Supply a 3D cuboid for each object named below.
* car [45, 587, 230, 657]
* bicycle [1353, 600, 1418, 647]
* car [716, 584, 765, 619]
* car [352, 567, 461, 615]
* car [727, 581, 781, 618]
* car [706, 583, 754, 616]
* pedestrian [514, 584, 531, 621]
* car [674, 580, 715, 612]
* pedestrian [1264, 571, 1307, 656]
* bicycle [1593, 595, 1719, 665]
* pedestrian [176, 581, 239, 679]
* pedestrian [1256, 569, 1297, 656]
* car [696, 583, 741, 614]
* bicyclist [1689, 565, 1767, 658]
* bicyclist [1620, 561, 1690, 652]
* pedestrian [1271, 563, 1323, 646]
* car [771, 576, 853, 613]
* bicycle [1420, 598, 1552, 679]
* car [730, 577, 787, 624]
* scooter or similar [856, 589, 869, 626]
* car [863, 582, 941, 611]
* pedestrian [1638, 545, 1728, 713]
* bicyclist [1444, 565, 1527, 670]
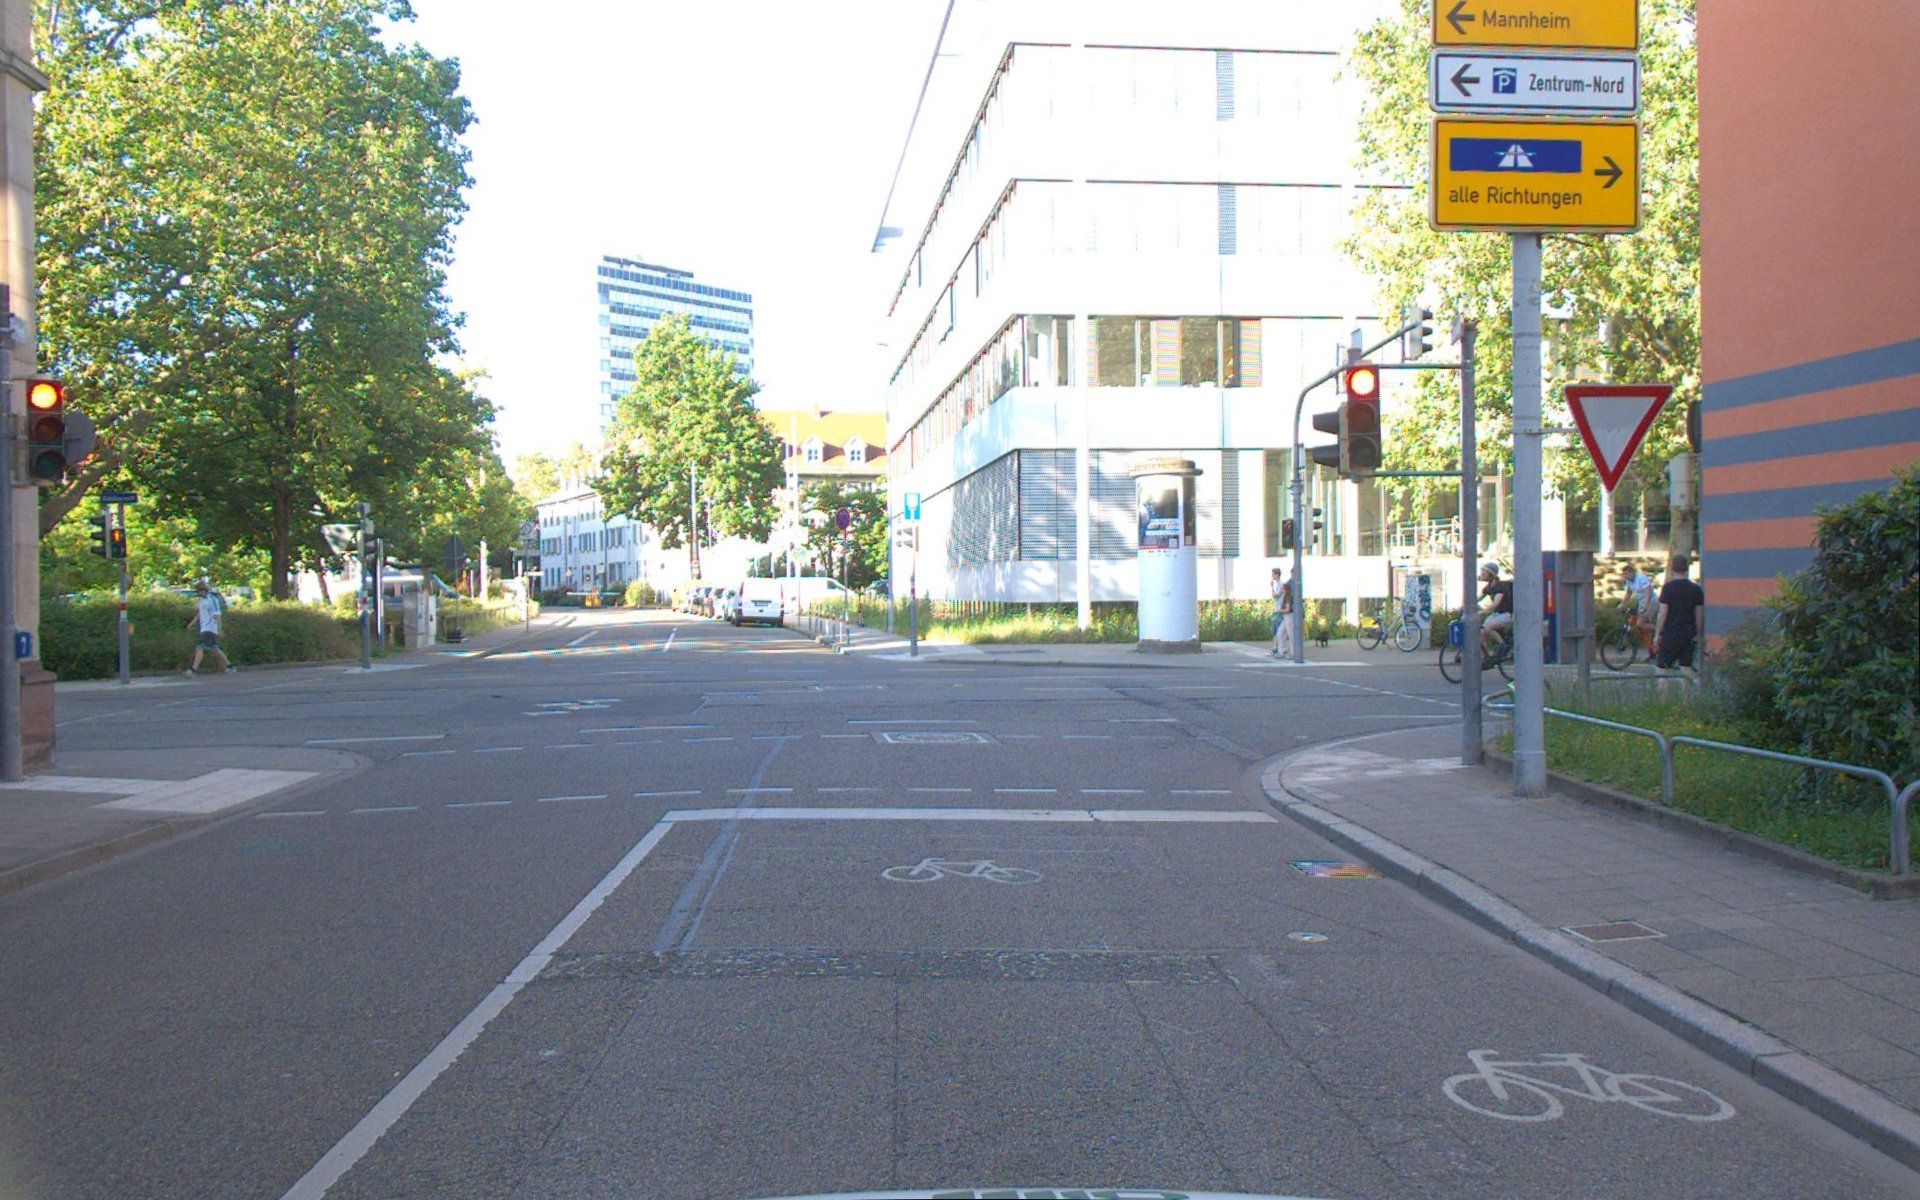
[{"bbox_3d":[-18.368,0.483,37.070,3.347,1.483,1.646,1,0,-11],"label":"car"},{"bbox_3d":[9.321,0.507,36.289,0.376,1.026,1.410,-1,0,-42],"label":"bicycle"},{"bbox_3d":[-10.197,0.059,76.658,1.958,1.525,4.639,1,0,-11],"label":"car"},{"bbox_3d":[-24.965,-0.389,74.687,4.363,2.049,1.995,1,0,-10],"label":"car"},{"bbox_3d":[-8.872,-0.019,70.908,1.958,1.525,4.639,1,0,-11],"label":"car"},{"bbox_3d":[-11.311,-0.009,81.089,1.959,1.525,4.272,1,0,-13],"label":"car"},{"bbox_3d":[-19.211,0.122,72.570,0.688,1.614,0.634,1,-1,-16],"label":"pedestrian"},{"bbox_3d":[-15.387,-0.211,95.610,1.960,1.755,4.635,1,0,-14],"label":"car"},{"bbox_3d":[6.792,0.287,34.504,0.749,1.749,0.648,1,-1,1],"label":"pedestrian"},{"bbox_3d":[12.061,0.520,28.681,1.923,1.172,0.627,-1,0,0],"label":"bicycle"},{"bbox_3d":[-14.999,0.593,32.961,0.729,1.901,0.911,0,-1,42],"label":"pedestrian"},{"bbox_3d":[6.735,0.261,35.206,0.749,1.826,0.648,1,-1,1],"label":"pedestrian"},{"bbox_3d":[-12.554,-0.051,85.795,1.959,1.525,4.637,1,0,-13],"label":"car"},{"bbox_3d":[12.439,0.185,26.805,0.951,1.471,0.627,-1,0,-2],"label":"bicyclist"},{"bbox_3d":[12.051,0.105,28.689,0.897,1.549,0.704,-1,0,0],"label":"bicyclist"},{"bbox_3d":[7.571,0.094,37.200,0.898,1.847,0.759,1,-1,36],"label":"pedestrian"},{"bbox_3d":[-9.204,-0.349,102.803,4.718,2.196,1.990,1,0,-18],"label":"car"},{"bbox_3d":[7.981,0.571,25.088,1.934,1.172,0.589,-1,0,-19],"label":"bicycle"},{"bbox_3d":[-7.919,0.015,64.708,1.957,1.755,4.641,1,0,-10],"label":"car"},{"bbox_3d":[-3.431,0.266,58.242,0.429,1.278,1.418,-1,0,-5],"label":"scooter or similar"},{"bbox_3d":[-3.679,-0.233,104.729,4.563,1.755,1.991,1,0,-17],"label":"car"},{"bbox_3d":[8.181,0.322,18.725,0.713,1.842,0.691,1,-1,-42],"label":"pedestrian"},{"bbox_3d":[7.970,0.261,25.095,1.059,1.554,0.589,-1,0,-19],"label":"bicyclist"}]
